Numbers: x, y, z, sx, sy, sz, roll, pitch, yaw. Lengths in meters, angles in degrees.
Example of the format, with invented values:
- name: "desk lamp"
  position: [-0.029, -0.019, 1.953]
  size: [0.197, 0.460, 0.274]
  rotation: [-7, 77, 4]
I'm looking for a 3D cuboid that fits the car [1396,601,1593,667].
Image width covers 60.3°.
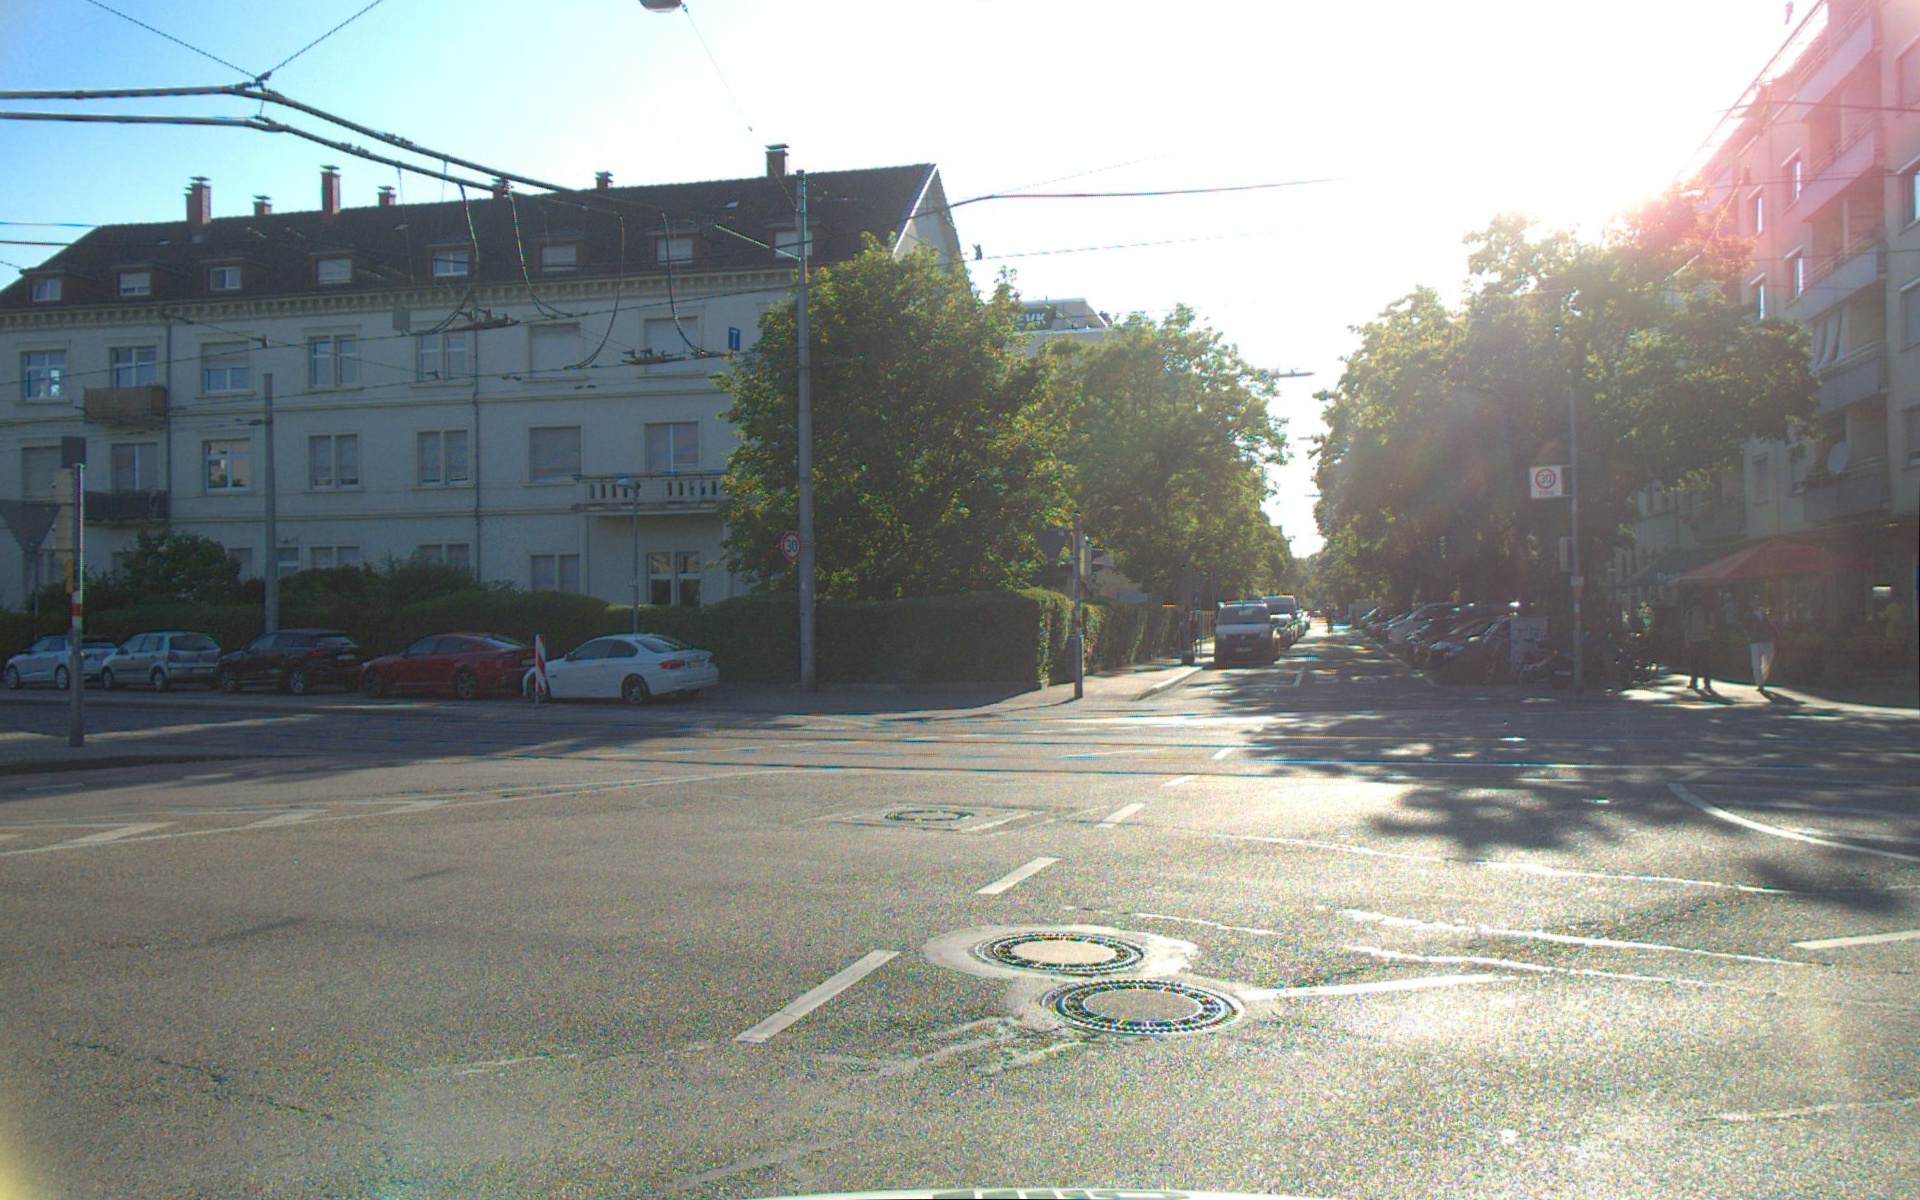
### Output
- name: "car"
  position: [16.540, 1.095, 51.468]
  size: [5.500, 1.958, 2.364]
  rotation: [-1, -3, 9]

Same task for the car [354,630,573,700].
- name: "car"
  position: [-11.180, 1.439, 37.211]
  size: [4.599, 1.400, 1.985]
  rotation: [-1, 1, 27]

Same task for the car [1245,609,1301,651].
- name: "car"
  position: [14.144, 1.356, 74.988]
  size: [2.304, 1.826, 5.314]
  rotation: [-1, -1, 9]

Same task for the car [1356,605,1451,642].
- name: "car"
  position: [25.248, 1.356, 94.245]
  size: [4.981, 1.958, 2.364]
  rotation: [-1, -3, 9]

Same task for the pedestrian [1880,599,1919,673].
- name: "pedestrian"
  position: [20.951, 0.795, 36.831]
  size: [0.605, 1.619, 0.478]
  rotation: [-1, -1, -5]

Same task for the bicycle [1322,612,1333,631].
- name: "bicycle"
  position: [26.733, 1.582, 120.245]
  size: [0.750, 1.347, 1.925]
  rotation: [-1, -1, 12]

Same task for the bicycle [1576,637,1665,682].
- name: "bicycle"
  position: [14.231, 1.285, 35.678]
  size: [1.686, 0.949, 0.562]
  rotation: [-1, -1, 12]

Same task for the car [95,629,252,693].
- name: "car"
  position: [-20.172, 1.533, 42.415]
  size: [3.640, 1.472, 1.982]
  rotation: [-1, 2, 32]

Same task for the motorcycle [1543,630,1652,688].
- name: "motorcycle"
  position: [12.950, 1.200, 33.633]
  size: [1.910, 1.129, 0.838]
  rotation: [-1, -1, 7]

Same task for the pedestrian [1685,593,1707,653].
- name: "pedestrian"
  position: [25.228, 0.797, 56.667]
  size: [0.524, 2.049, 0.512]
  rotation: [-1, -1, 5]

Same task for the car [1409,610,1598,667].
- name: "car"
  position: [15.999, 1.168, 48.930]
  size: [4.981, 1.584, 2.364]
  rotation: [-1, -3, 9]

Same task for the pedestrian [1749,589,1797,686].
- name: "pedestrian"
  position: [15.193, 0.693, 30.924]
  size: [0.676, 1.781, 0.840]
  rotation: [-1, -1, 18]

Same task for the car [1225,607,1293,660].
- name: "car"
  position: [10.835, 1.190, 60.226]
  size: [2.304, 1.826, 5.314]
  rotation: [-1, -1, 9]

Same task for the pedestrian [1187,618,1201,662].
- name: "pedestrian"
  position: [9.448, 1.626, 66.811]
  size: [0.566, 1.761, 0.608]
  rotation: [0, -1, 6]

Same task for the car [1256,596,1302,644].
- name: "car"
  position: [17.427, 1.088, 90.540]
  size: [2.304, 2.559, 5.314]
  rotation: [-1, -1, 9]

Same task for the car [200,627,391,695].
- name: "car"
  position: [-16.218, 1.461, 40.299]
  size: [4.605, 1.472, 1.982]
  rotation: [-1, 2, 32]

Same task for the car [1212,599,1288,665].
- name: "car"
  position: [9.473, 1.034, 54.163]
  size: [2.304, 2.049, 5.314]
  rotation: [-1, -1, 9]

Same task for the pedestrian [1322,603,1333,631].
- name: "pedestrian"
  position: [26.712, 1.231, 120.201]
  size: [0.721, 2.049, 0.744]
  rotation: [-1, -1, 12]

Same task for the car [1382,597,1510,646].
- name: "car"
  position: [20.773, 0.936, 70.929]
  size: [4.981, 1.958, 2.364]
  rotation: [-1, -3, 9]

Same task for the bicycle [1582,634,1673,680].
- name: "bicycle"
  position: [14.078, 1.206, 34.926]
  size: [1.686, 0.949, 0.562]
  rotation: [-1, -1, 12]

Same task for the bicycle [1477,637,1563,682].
- name: "bicycle"
  position: [12.124, 1.289, 35.866]
  size: [1.686, 0.949, 0.673]
  rotation: [-1, -1, 12]

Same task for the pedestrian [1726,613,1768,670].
- name: "pedestrian"
  position: [19.754, 1.039, 41.547]
  size: [0.794, 1.386, 0.914]
  rotation: [-1, -1, 17]

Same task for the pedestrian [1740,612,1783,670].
- name: "pedestrian"
  position: [19.496, 0.982, 40.242]
  size: [0.794, 1.386, 0.914]
  rotation: [-1, -1, 17]

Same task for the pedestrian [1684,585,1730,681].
- name: "pedestrian"
  position: [14.212, 0.621, 31.465]
  size: [0.678, 1.781, 0.793]
  rotation: [-1, -1, 32]

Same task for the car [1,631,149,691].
- name: "car"
  position: [-23.990, 1.631, 44.833]
  size: [3.874, 1.472, 1.841]
  rotation: [-1, 1, 32]

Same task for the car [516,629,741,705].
- name: "car"
  position: [-6.914, 1.359, 34.412]
  size: [4.399, 1.400, 1.927]
  rotation: [-1, 1, 31]
